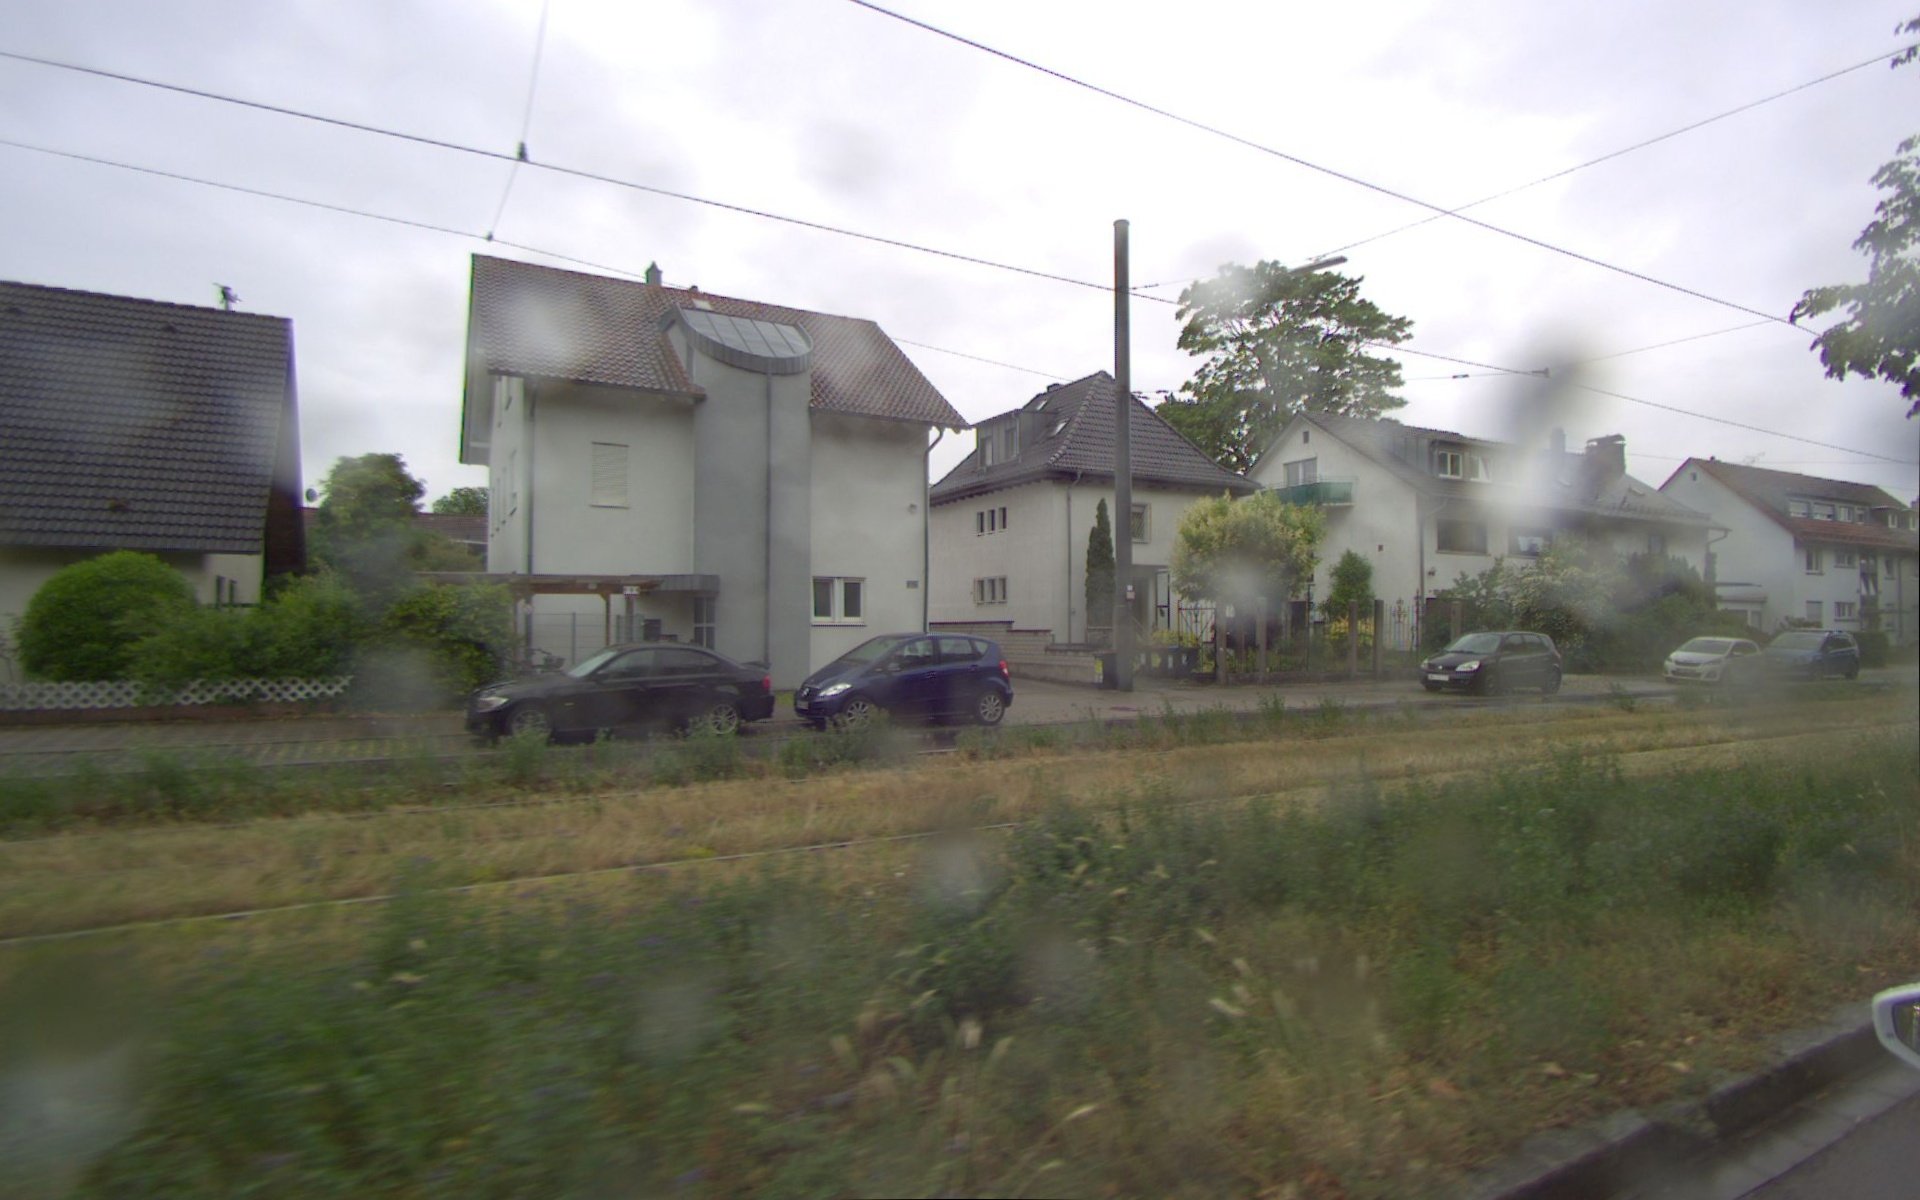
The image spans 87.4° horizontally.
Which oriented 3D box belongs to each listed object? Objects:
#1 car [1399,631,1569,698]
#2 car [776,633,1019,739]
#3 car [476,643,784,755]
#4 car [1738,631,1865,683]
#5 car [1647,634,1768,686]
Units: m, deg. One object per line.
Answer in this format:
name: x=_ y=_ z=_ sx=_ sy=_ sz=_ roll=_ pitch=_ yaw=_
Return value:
car: x=13.694 y=1.611 z=26.210 sx=4.154 sy=1.536 sz=1.985 roll=1 pitch=0 yaw=-29
car: x=-1.064 y=1.415 z=17.533 sx=3.825 sy=1.571 sz=1.864 roll=1 pitch=0 yaw=-31
car: x=-5.010 y=1.409 z=15.323 sx=4.188 sy=1.368 sz=1.985 roll=1 pitch=0 yaw=-29
car: x=29.421 y=1.944 z=35.114 sx=4.359 sy=1.635 sz=1.985 roll=1 pitch=0 yaw=-29
car: x=23.749 y=1.861 z=31.899 sx=3.553 sy=1.508 sz=1.788 roll=1 pitch=0 yaw=-29
